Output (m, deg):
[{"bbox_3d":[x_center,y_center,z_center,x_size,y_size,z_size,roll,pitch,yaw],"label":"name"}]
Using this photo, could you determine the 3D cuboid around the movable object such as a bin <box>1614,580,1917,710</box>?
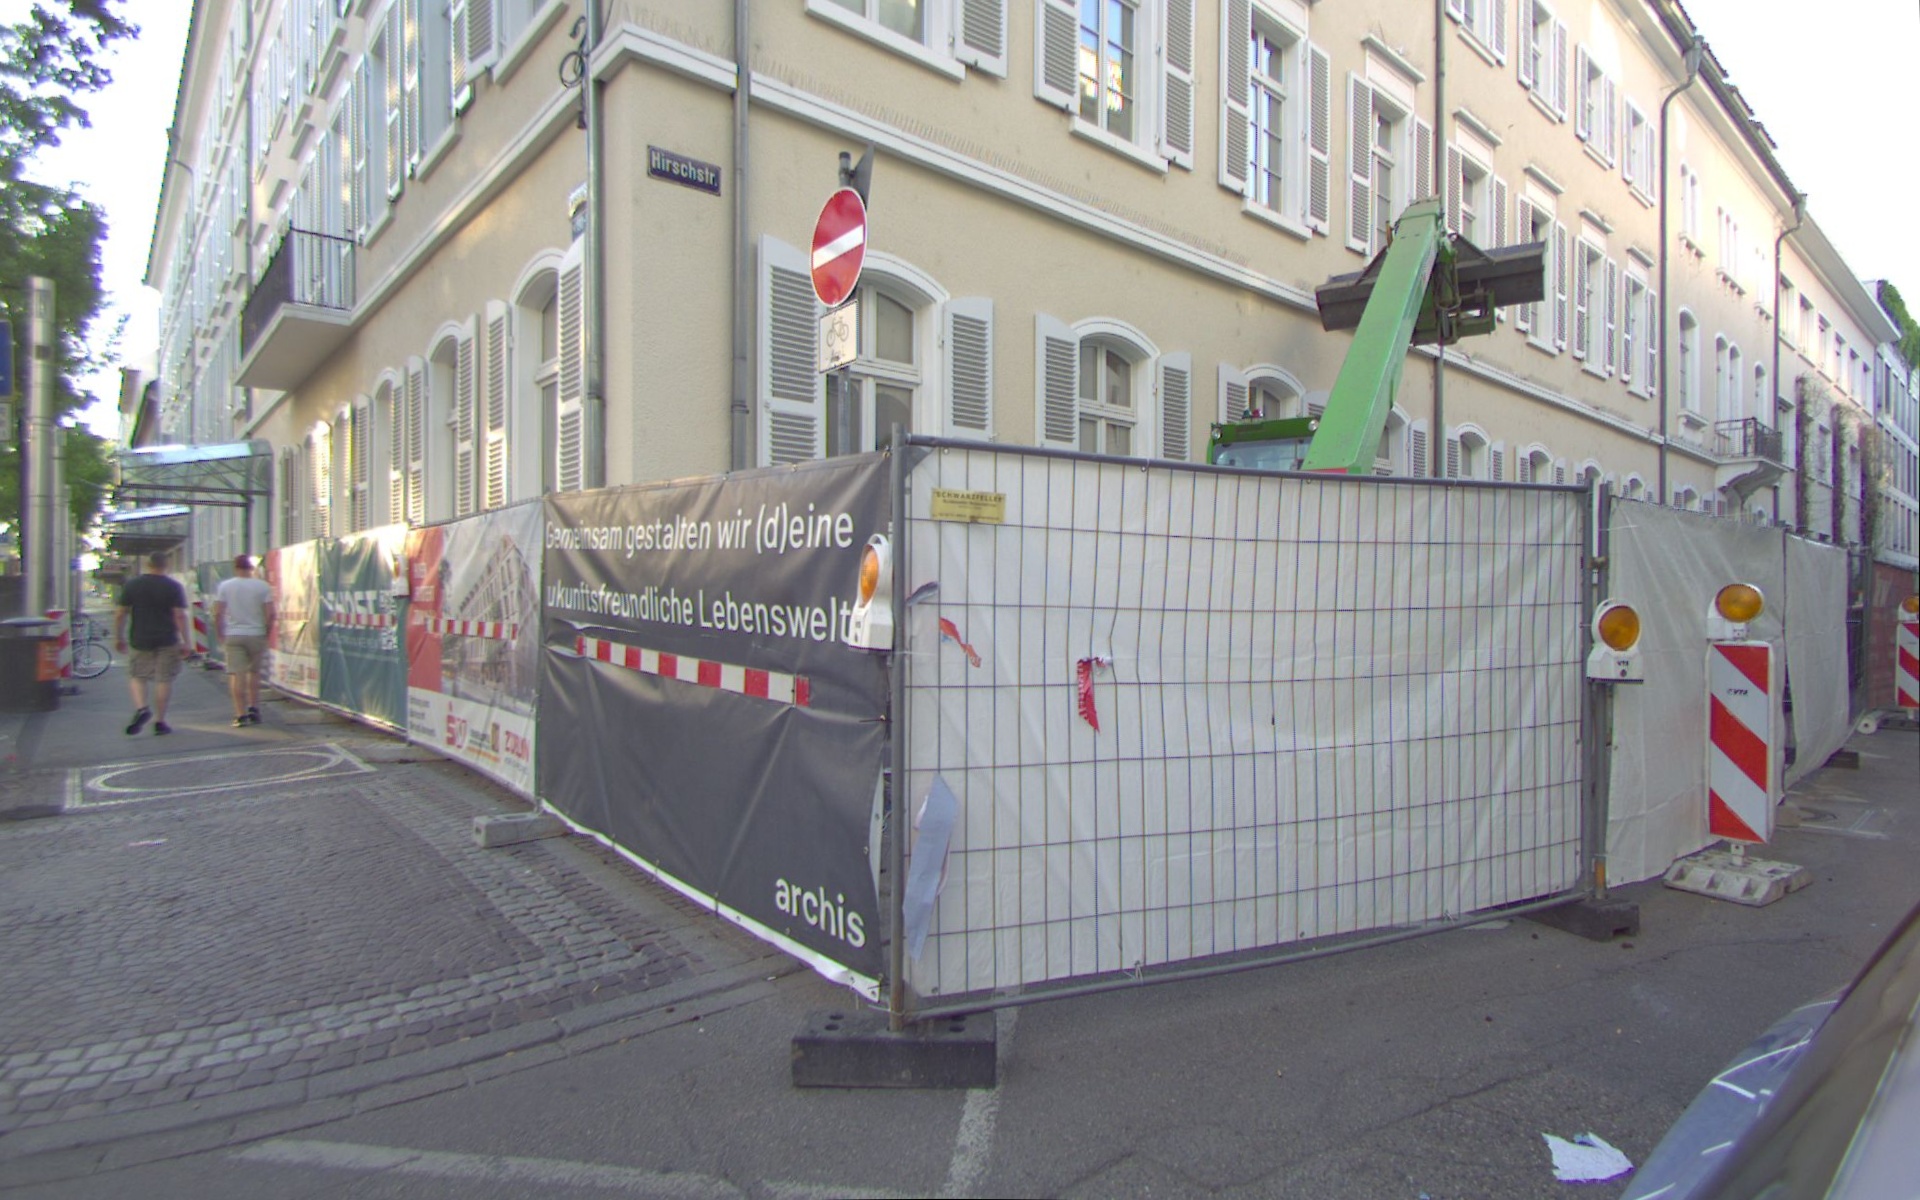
[{"bbox_3d":[13.493,0.585,16.698,7.170,1.686,2.894,1,0,-43],"label":"movable object such as a bin"}]

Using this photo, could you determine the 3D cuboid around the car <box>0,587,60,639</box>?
[{"bbox_3d":[-33.777,0.443,36.477,1.965,1.759,4.098,-1,1,-41],"label":"car"}]

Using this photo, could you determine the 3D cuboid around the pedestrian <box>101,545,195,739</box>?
[{"bbox_3d":[-8.393,0.400,10.466,0.668,1.908,0.768,-3,2,-40],"label":"pedestrian"}]

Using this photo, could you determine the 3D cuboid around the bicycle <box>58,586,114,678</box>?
[{"bbox_3d":[-16.002,0.560,18.529,0.692,1.570,2.180,-2,1,-41],"label":"bicycle"}]

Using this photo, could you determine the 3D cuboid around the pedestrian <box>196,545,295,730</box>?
[{"bbox_3d":[-7.827,0.373,11.082,0.746,1.908,0.879,-3,2,-40],"label":"pedestrian"}]

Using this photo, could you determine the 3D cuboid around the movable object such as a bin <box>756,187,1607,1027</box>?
[{"bbox_3d":[1.787,0.003,6.371,5.472,2.909,2.638,0,1,-44],"label":"movable object such as a bin"}]
